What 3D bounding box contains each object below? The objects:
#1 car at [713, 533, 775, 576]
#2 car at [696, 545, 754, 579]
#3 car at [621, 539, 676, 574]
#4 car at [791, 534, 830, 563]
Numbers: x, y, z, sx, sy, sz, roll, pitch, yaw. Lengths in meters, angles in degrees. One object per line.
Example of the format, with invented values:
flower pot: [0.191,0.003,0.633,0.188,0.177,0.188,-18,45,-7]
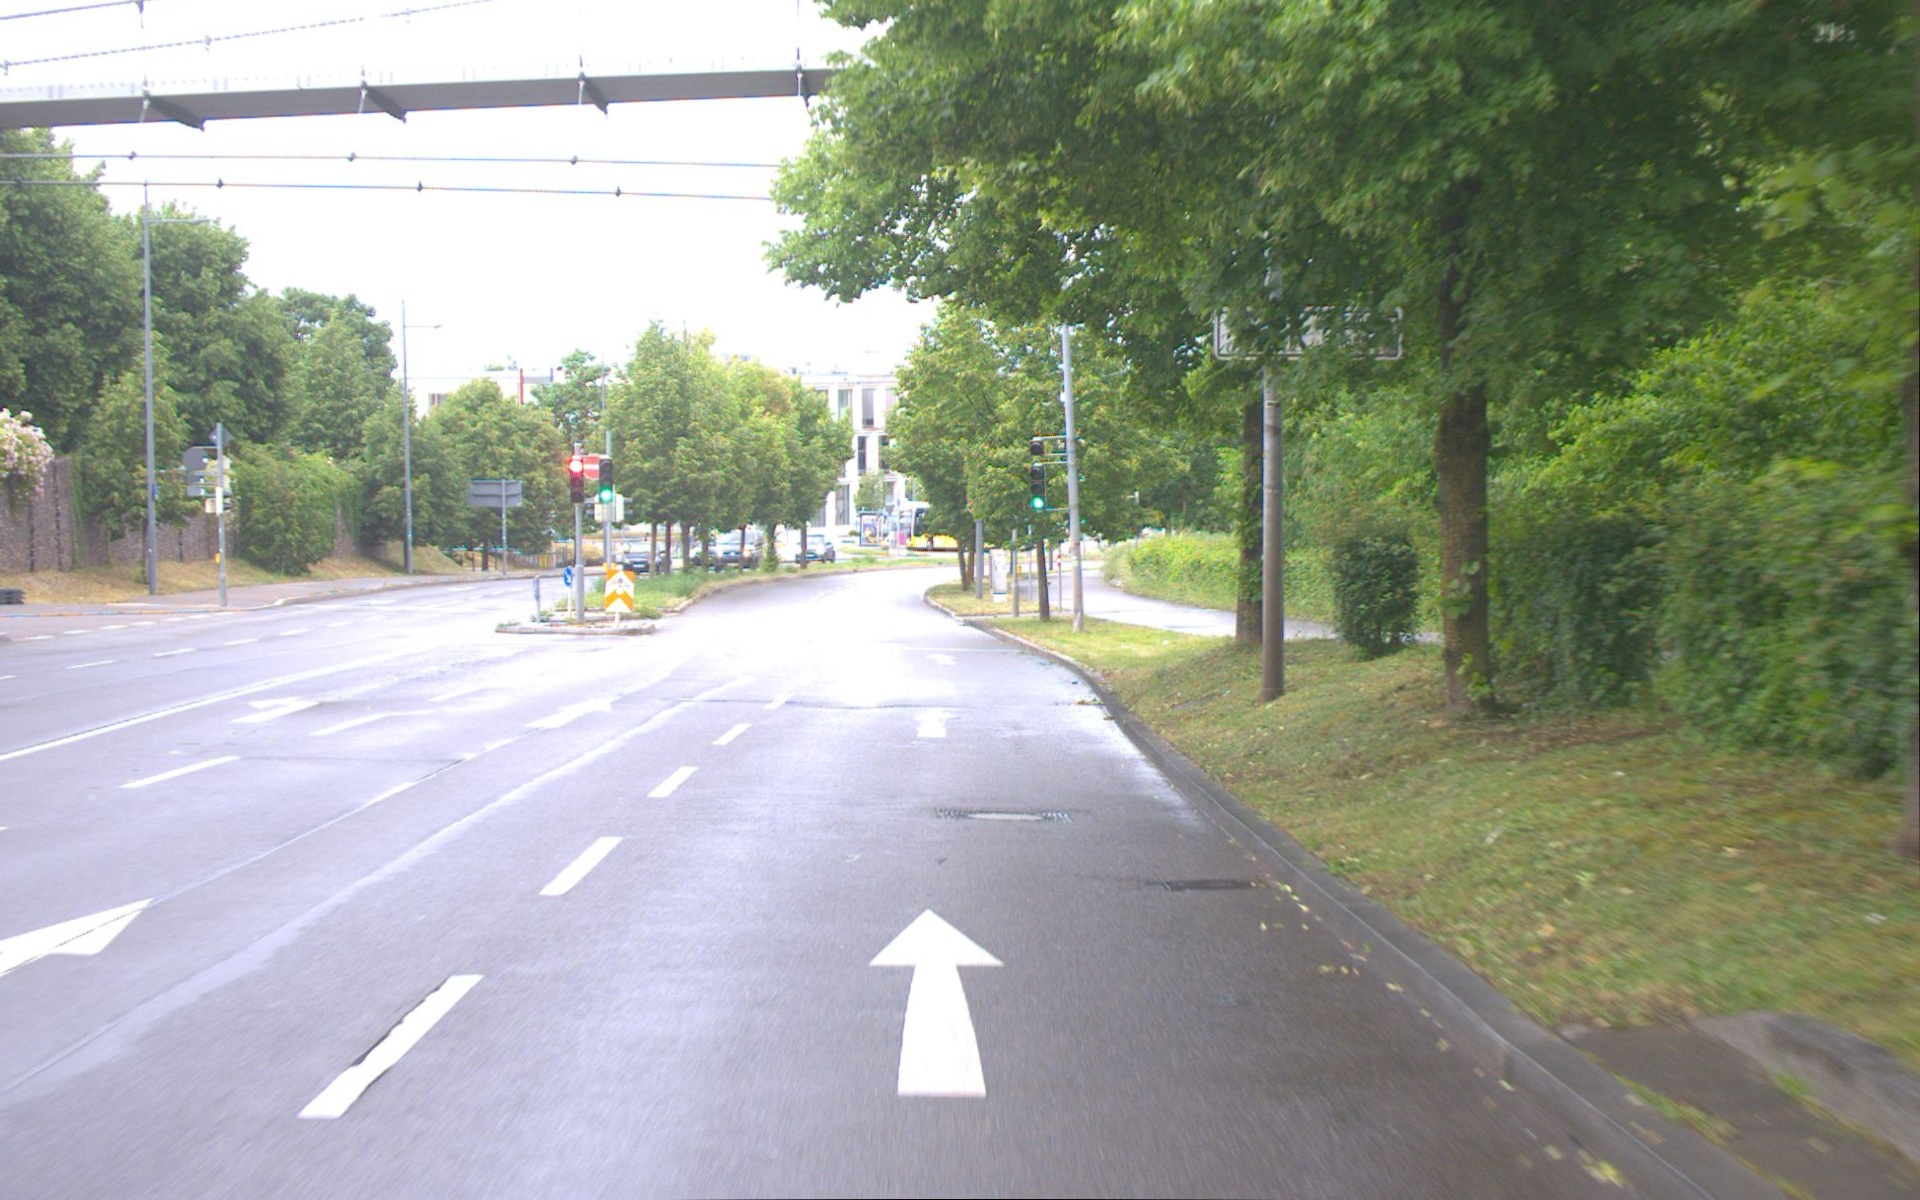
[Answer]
car: [-9.782,-2.051,156.034,2.014,1.912,5.094,1,1,6]
car: [-11.349,-1.845,166.292,1.881,1.589,4.765,2,1,7]
car: [-13.610,-1.921,150.457,1.598,1.484,3.999,1,1,7]
car: [-8.145,-2.817,187.473,1.687,1.534,2.915,1,2,7]
